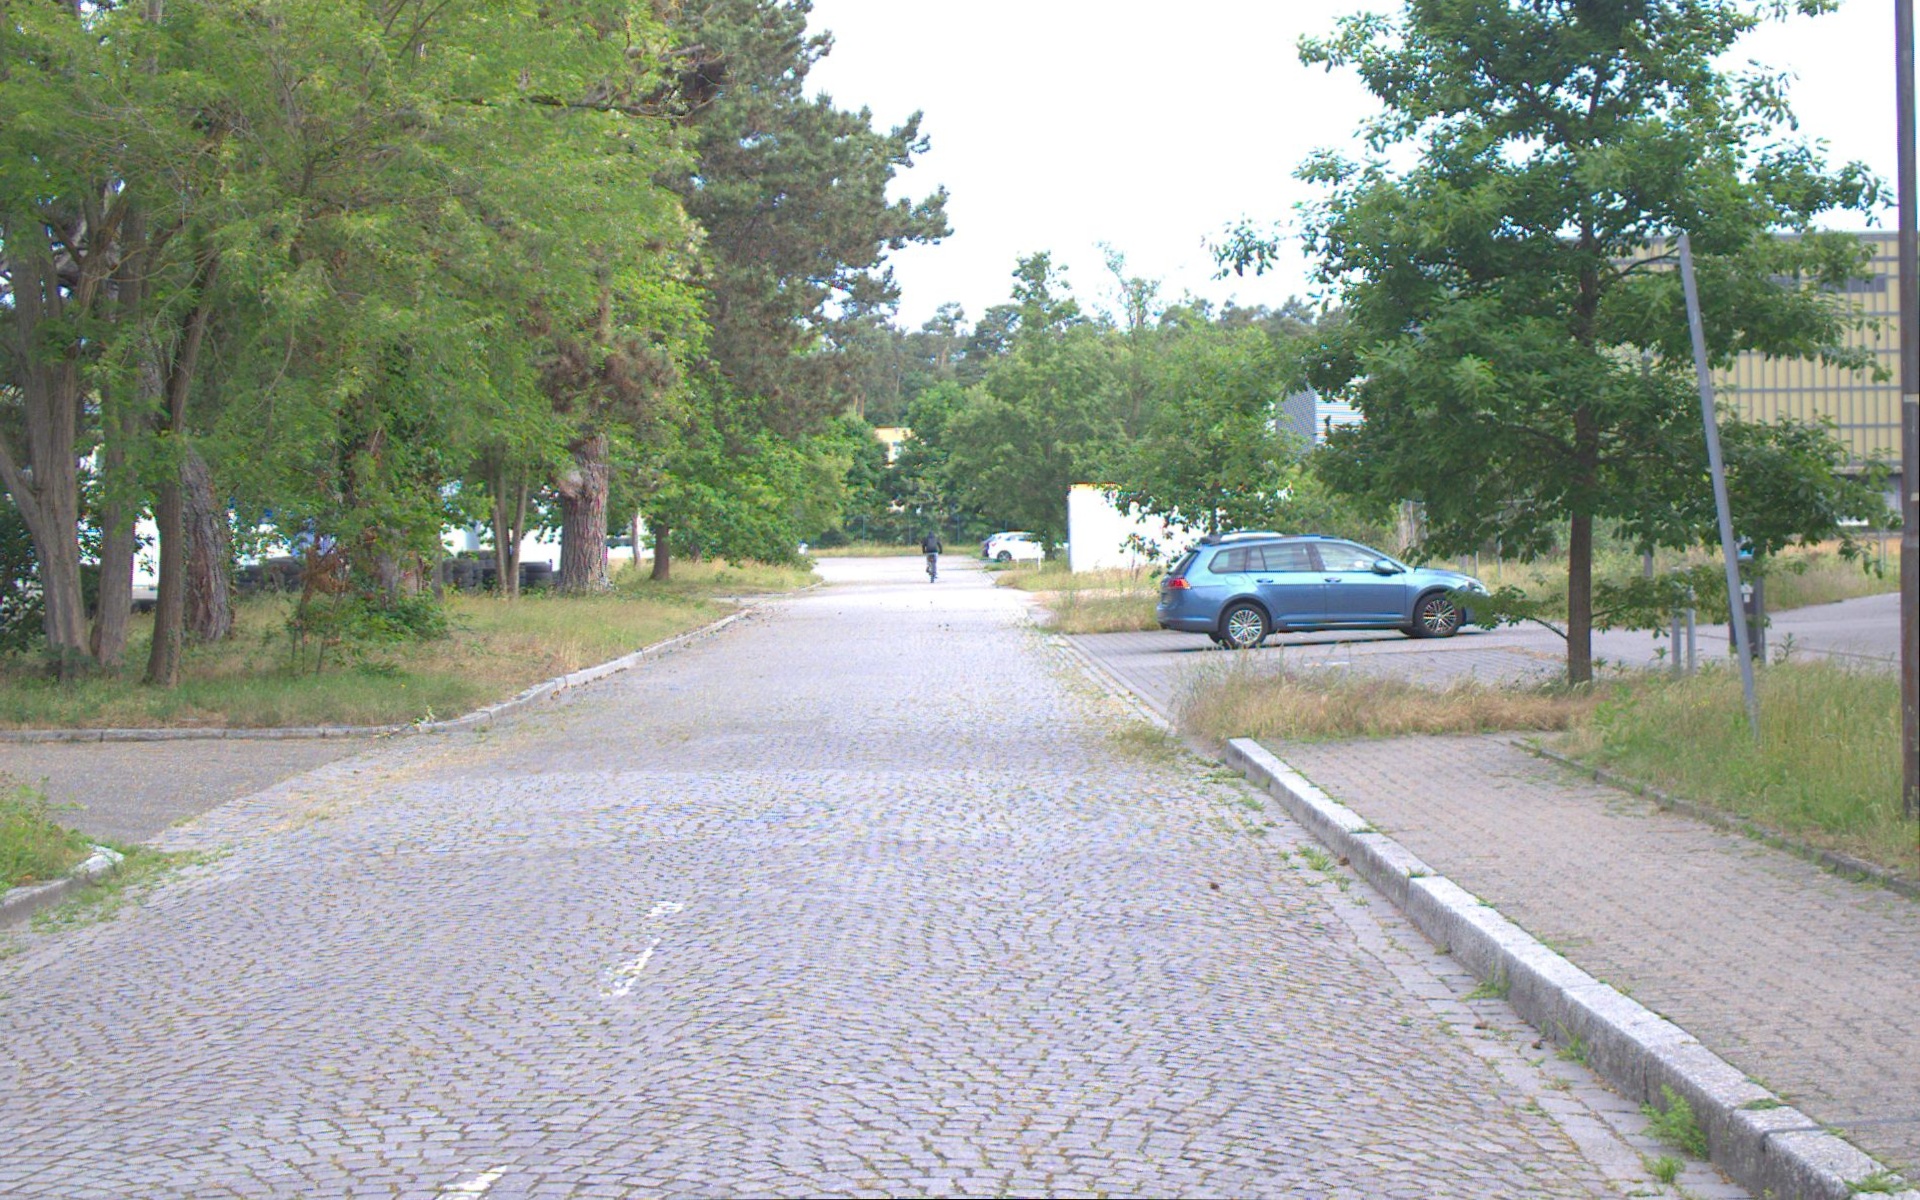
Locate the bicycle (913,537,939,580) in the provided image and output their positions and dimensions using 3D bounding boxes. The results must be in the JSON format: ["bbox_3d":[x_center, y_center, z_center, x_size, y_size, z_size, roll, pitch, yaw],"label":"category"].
[{"bbox_3d":[-1.160,-1.420,117.079,0.823,1.372,2.043,-1,2,-1],"label":"bicycle"}]

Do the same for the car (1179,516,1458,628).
[{"bbox_3d":[5.642,-0.455,54.437,4.107,1.567,1.765,-3,1,-2],"label":"car"}]

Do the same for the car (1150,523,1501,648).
[{"bbox_3d":[4.952,-0.213,46.986,4.480,1.457,1.935,-3,1,-2],"label":"car"}]

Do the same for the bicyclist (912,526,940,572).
[{"bbox_3d":[-1.162,-1.726,117.090,0.897,1.537,0.868,-1,2,-1],"label":"bicyclist"}]

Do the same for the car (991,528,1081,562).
[{"bbox_3d":[3.684,-2.671,166.791,4.322,1.544,2.000,-1,1,1],"label":"car"}]
